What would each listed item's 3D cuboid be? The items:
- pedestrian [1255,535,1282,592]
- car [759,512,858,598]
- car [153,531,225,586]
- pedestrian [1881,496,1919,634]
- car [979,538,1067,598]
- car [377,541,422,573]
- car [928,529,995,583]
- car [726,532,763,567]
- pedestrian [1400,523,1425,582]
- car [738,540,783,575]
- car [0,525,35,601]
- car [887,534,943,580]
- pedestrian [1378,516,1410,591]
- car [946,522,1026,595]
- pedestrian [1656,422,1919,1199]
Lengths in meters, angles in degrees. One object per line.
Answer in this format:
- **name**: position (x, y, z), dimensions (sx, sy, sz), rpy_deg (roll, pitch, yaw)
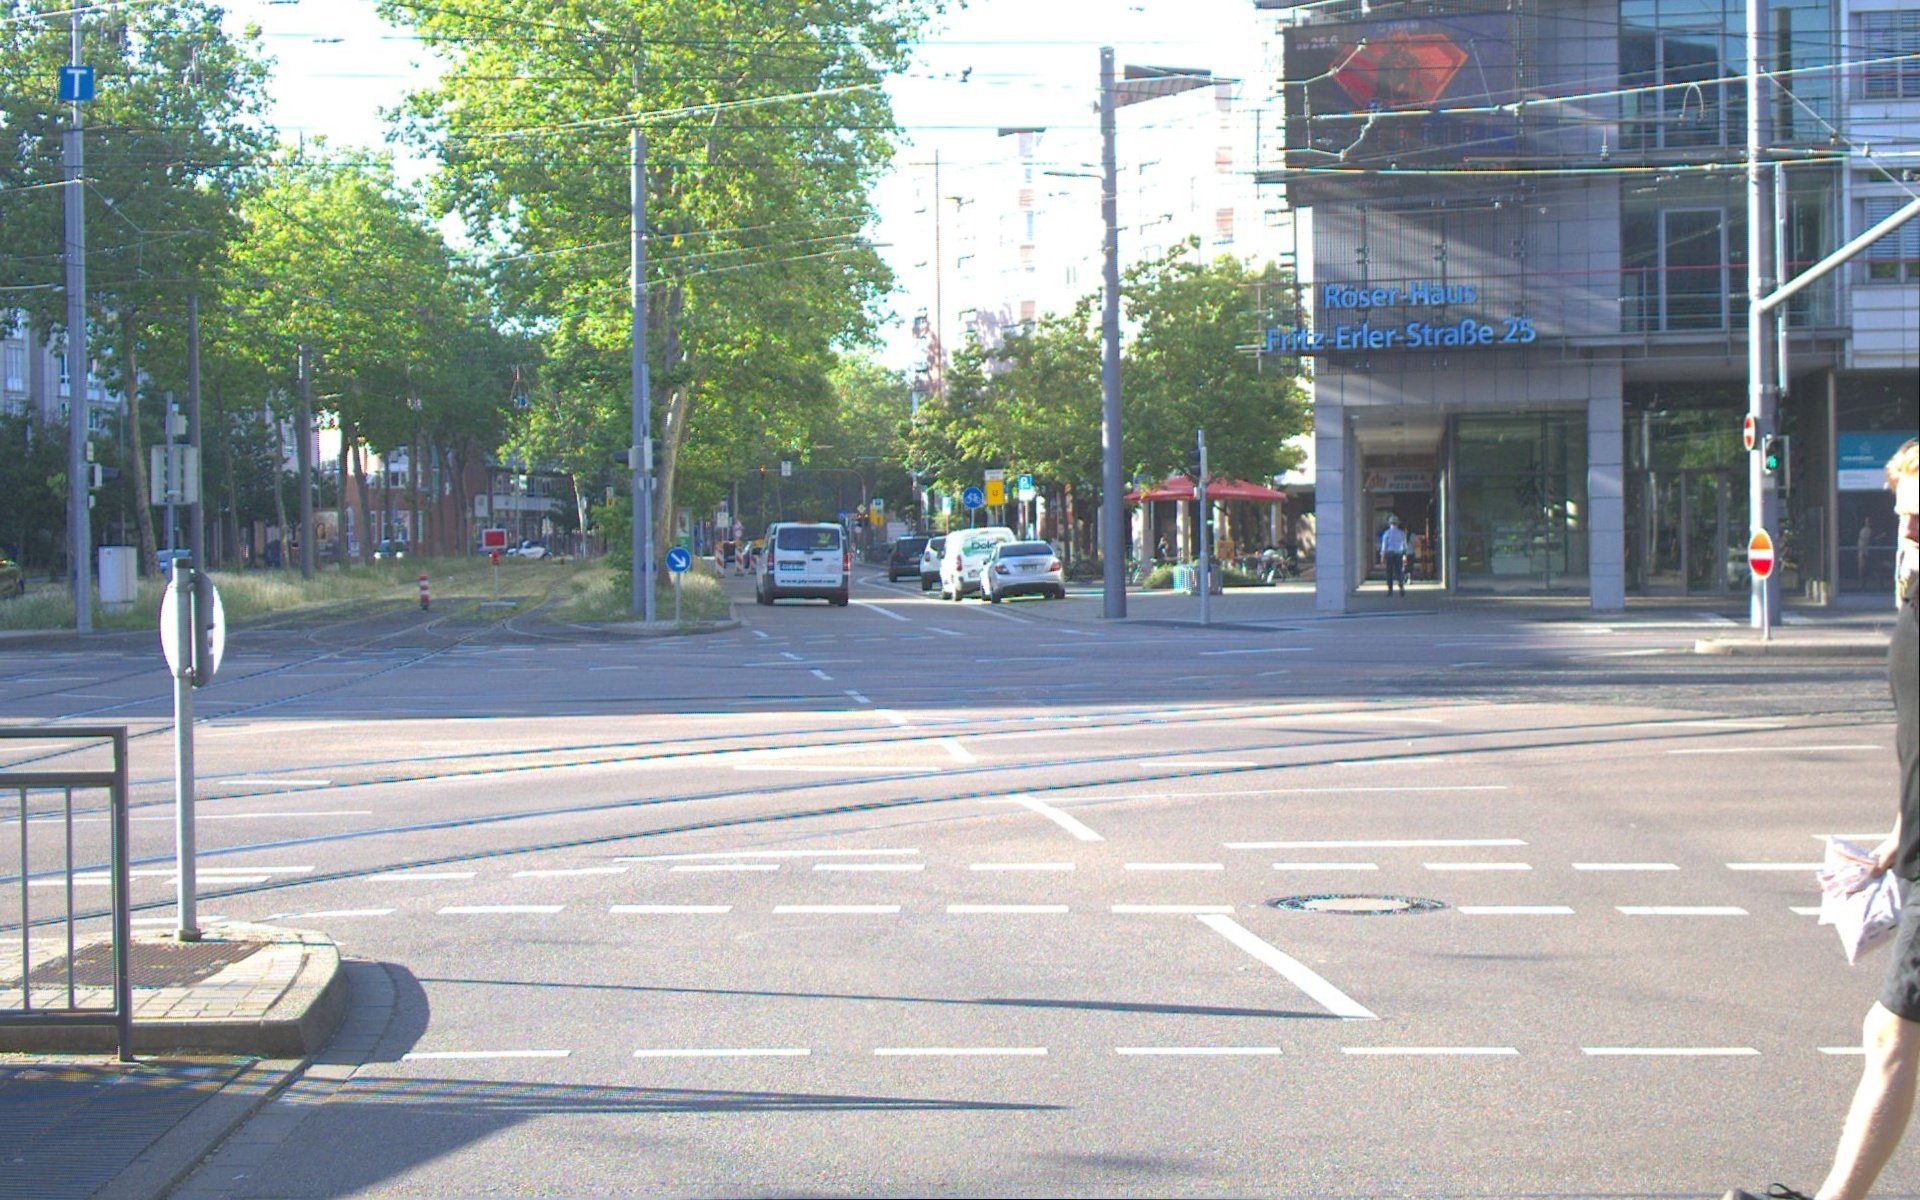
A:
- **pedestrian**: position (9.429, -1.110, 104.960), dimensions (0.744, 1.708, 0.612), rpy_deg (-1, 1, -1)
- **car**: position (-3.374, -1.028, 77.355), dimensions (1.961, 1.842, 5.330), rpy_deg (-1, 1, 0)
- **car**: position (-29.001, -1.567, 129.390), dimensions (1.993, 2.007, 4.001), rpy_deg (-1, 1, -3)
- **pedestrian**: position (12.498, -0.463, 44.821), dimensions (0.864, 1.782, 0.871), rpy_deg (0, 1, 21)
- **car**: position (1.491, -0.786, 82.773), dimensions (1.993, 1.371, 4.000), rpy_deg (-1, 1, -1)
- **car**: position (-33.297, -2.573, 204.301), dimensions (1.993, 1.809, 4.000), rpy_deg (-1, 1, -1)
- **car**: position (0.035, -1.359, 105.214), dimensions (1.993, 1.612, 4.000), rpy_deg (-1, 1, 0)
- **car**: position (-12.732, -3.010, 203.272), dimensions (1.993, 2.007, 4.000), rpy_deg (-1, 1, -1)
- **pedestrian**: position (11.705, -1.235, 88.982), dimensions (0.612, 1.502, 0.579), rpy_deg (-1, 1, 7)
- **car**: position (-8.508, -1.810, 146.897), dimensions (1.797, 1.437, 4.000), rpy_deg (1, 1, -2)
- **car**: position (-21.667, -0.800, 74.922), dimensions (1.993, 1.634, 4.000), rpy_deg (-1, 1, -1)
- **car**: position (-1.642, -1.597, 126.664), dimensions (1.993, 1.612, 4.000), rpy_deg (-1, 1, 0)
- **pedestrian**: position (8.776, -0.934, 69.551), dimensions (0.612, 1.502, 0.579), rpy_deg (-1, 1, 8)
- **car**: position (0.647, -1.095, 89.568), dimensions (1.993, 1.853, 4.000), rpy_deg (-1, 1, -1)
- **pedestrian**: position (2.065, 0.532, 6.909), dimensions (1.089, 1.742, 0.743), rpy_deg (0, 1, -12)
